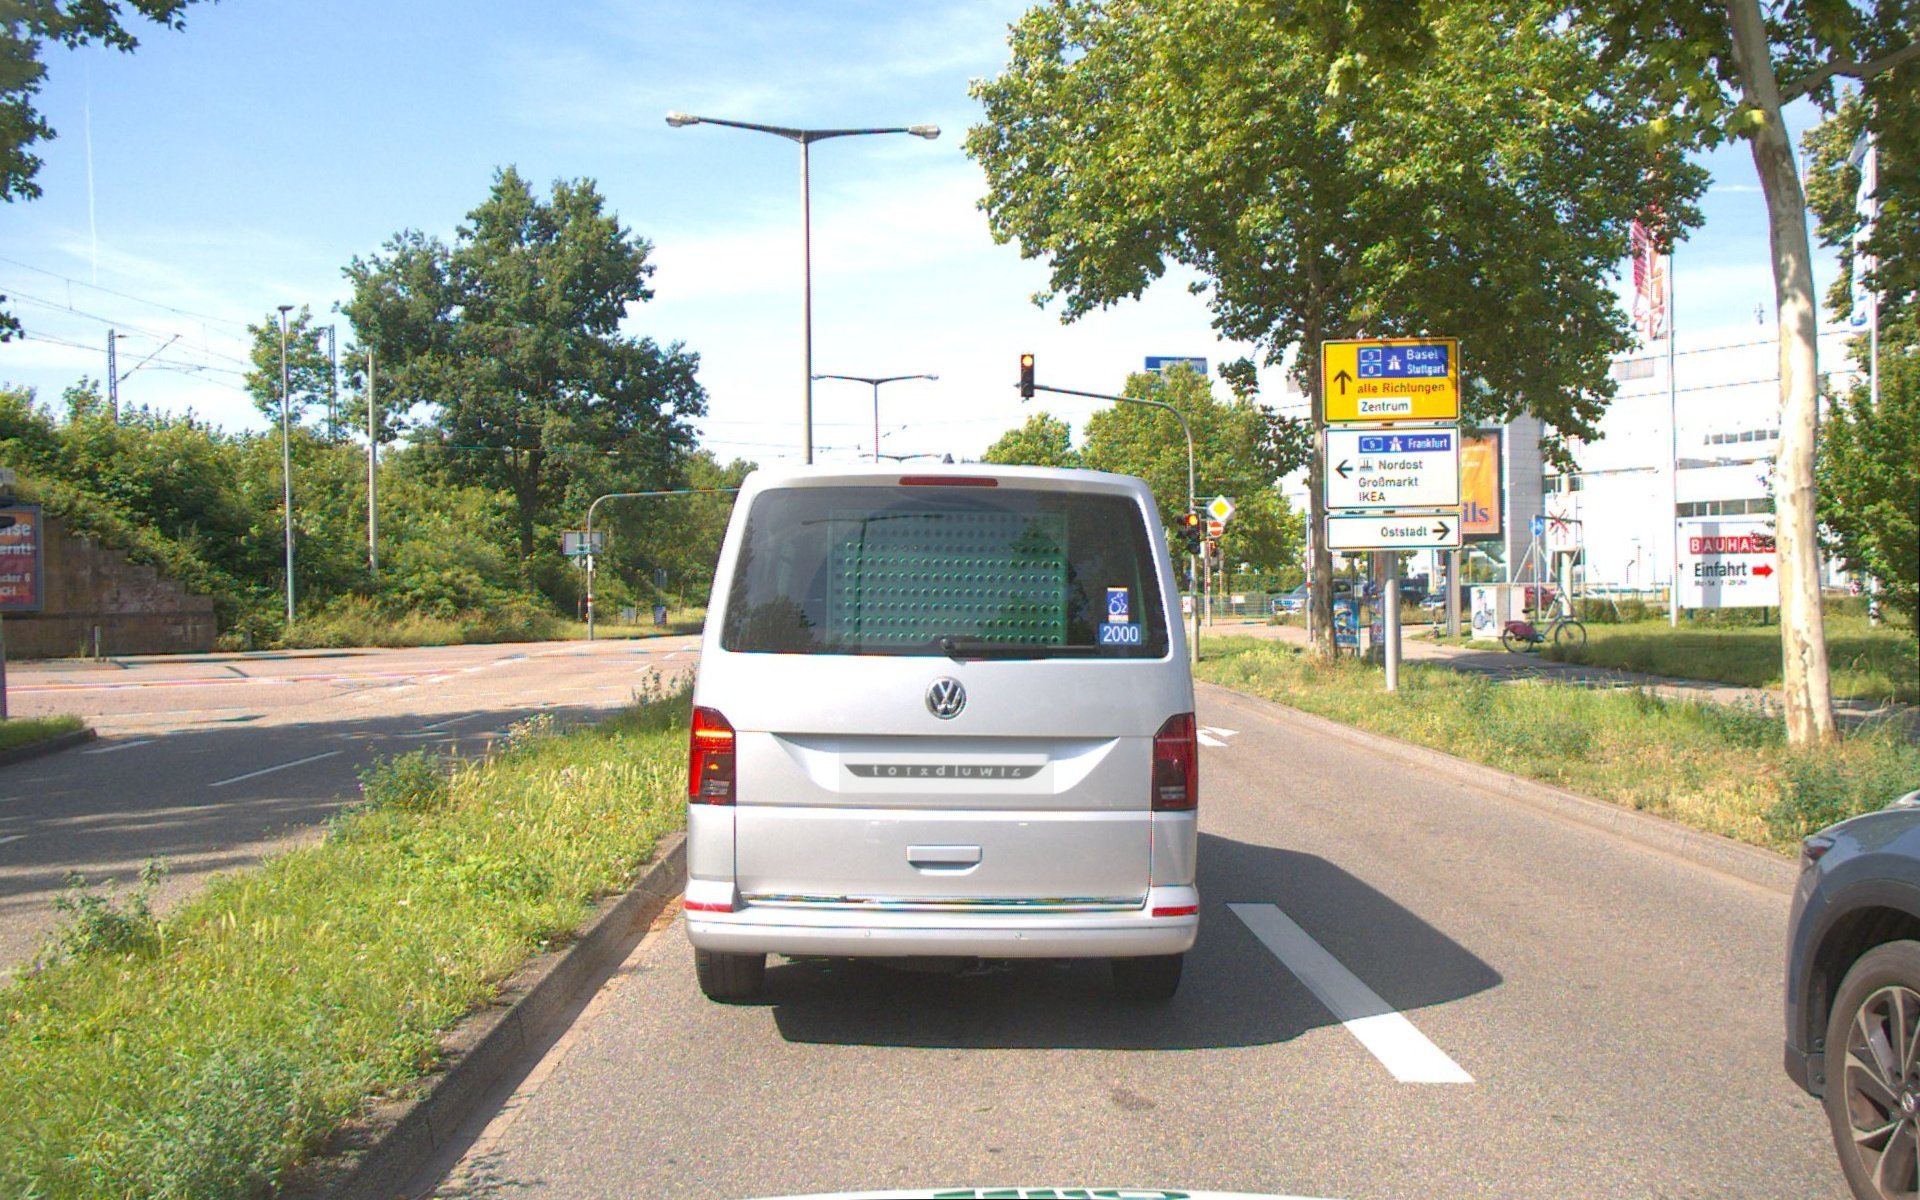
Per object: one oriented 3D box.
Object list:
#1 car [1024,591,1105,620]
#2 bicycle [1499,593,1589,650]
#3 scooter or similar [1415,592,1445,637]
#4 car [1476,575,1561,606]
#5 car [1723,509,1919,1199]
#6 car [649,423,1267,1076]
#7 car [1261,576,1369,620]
[{"bbox_3d":[5.693,0.317,90.399,1.766,1.469,4.557,-1,0,-41],"label":"car"},{"bbox_3d":[12.503,0.459,35.447,1.748,1.127,0.504,-3,-1,18],"label":"bicycle"},{"bbox_3d":[12.090,0.360,42.572,0.416,1.146,1.123,-1,0,-2],"label":"scooter or similar"},{"bbox_3d":[27.854,-0.491,82.462,4.578,1.469,1.758,-1,0,-38],"label":"car"},{"bbox_3d":[3.106,0.648,2.492,1.730,1.688,4.495,1,0,-2],"label":"car"},{"bbox_3d":[-0.040,0.454,7.633,1.902,2.006,5.021,0,0,-1],"label":"car"},{"bbox_3d":[14.815,-0.097,69.000,4.578,1.718,1.890,-1,0,-38],"label":"car"}]
